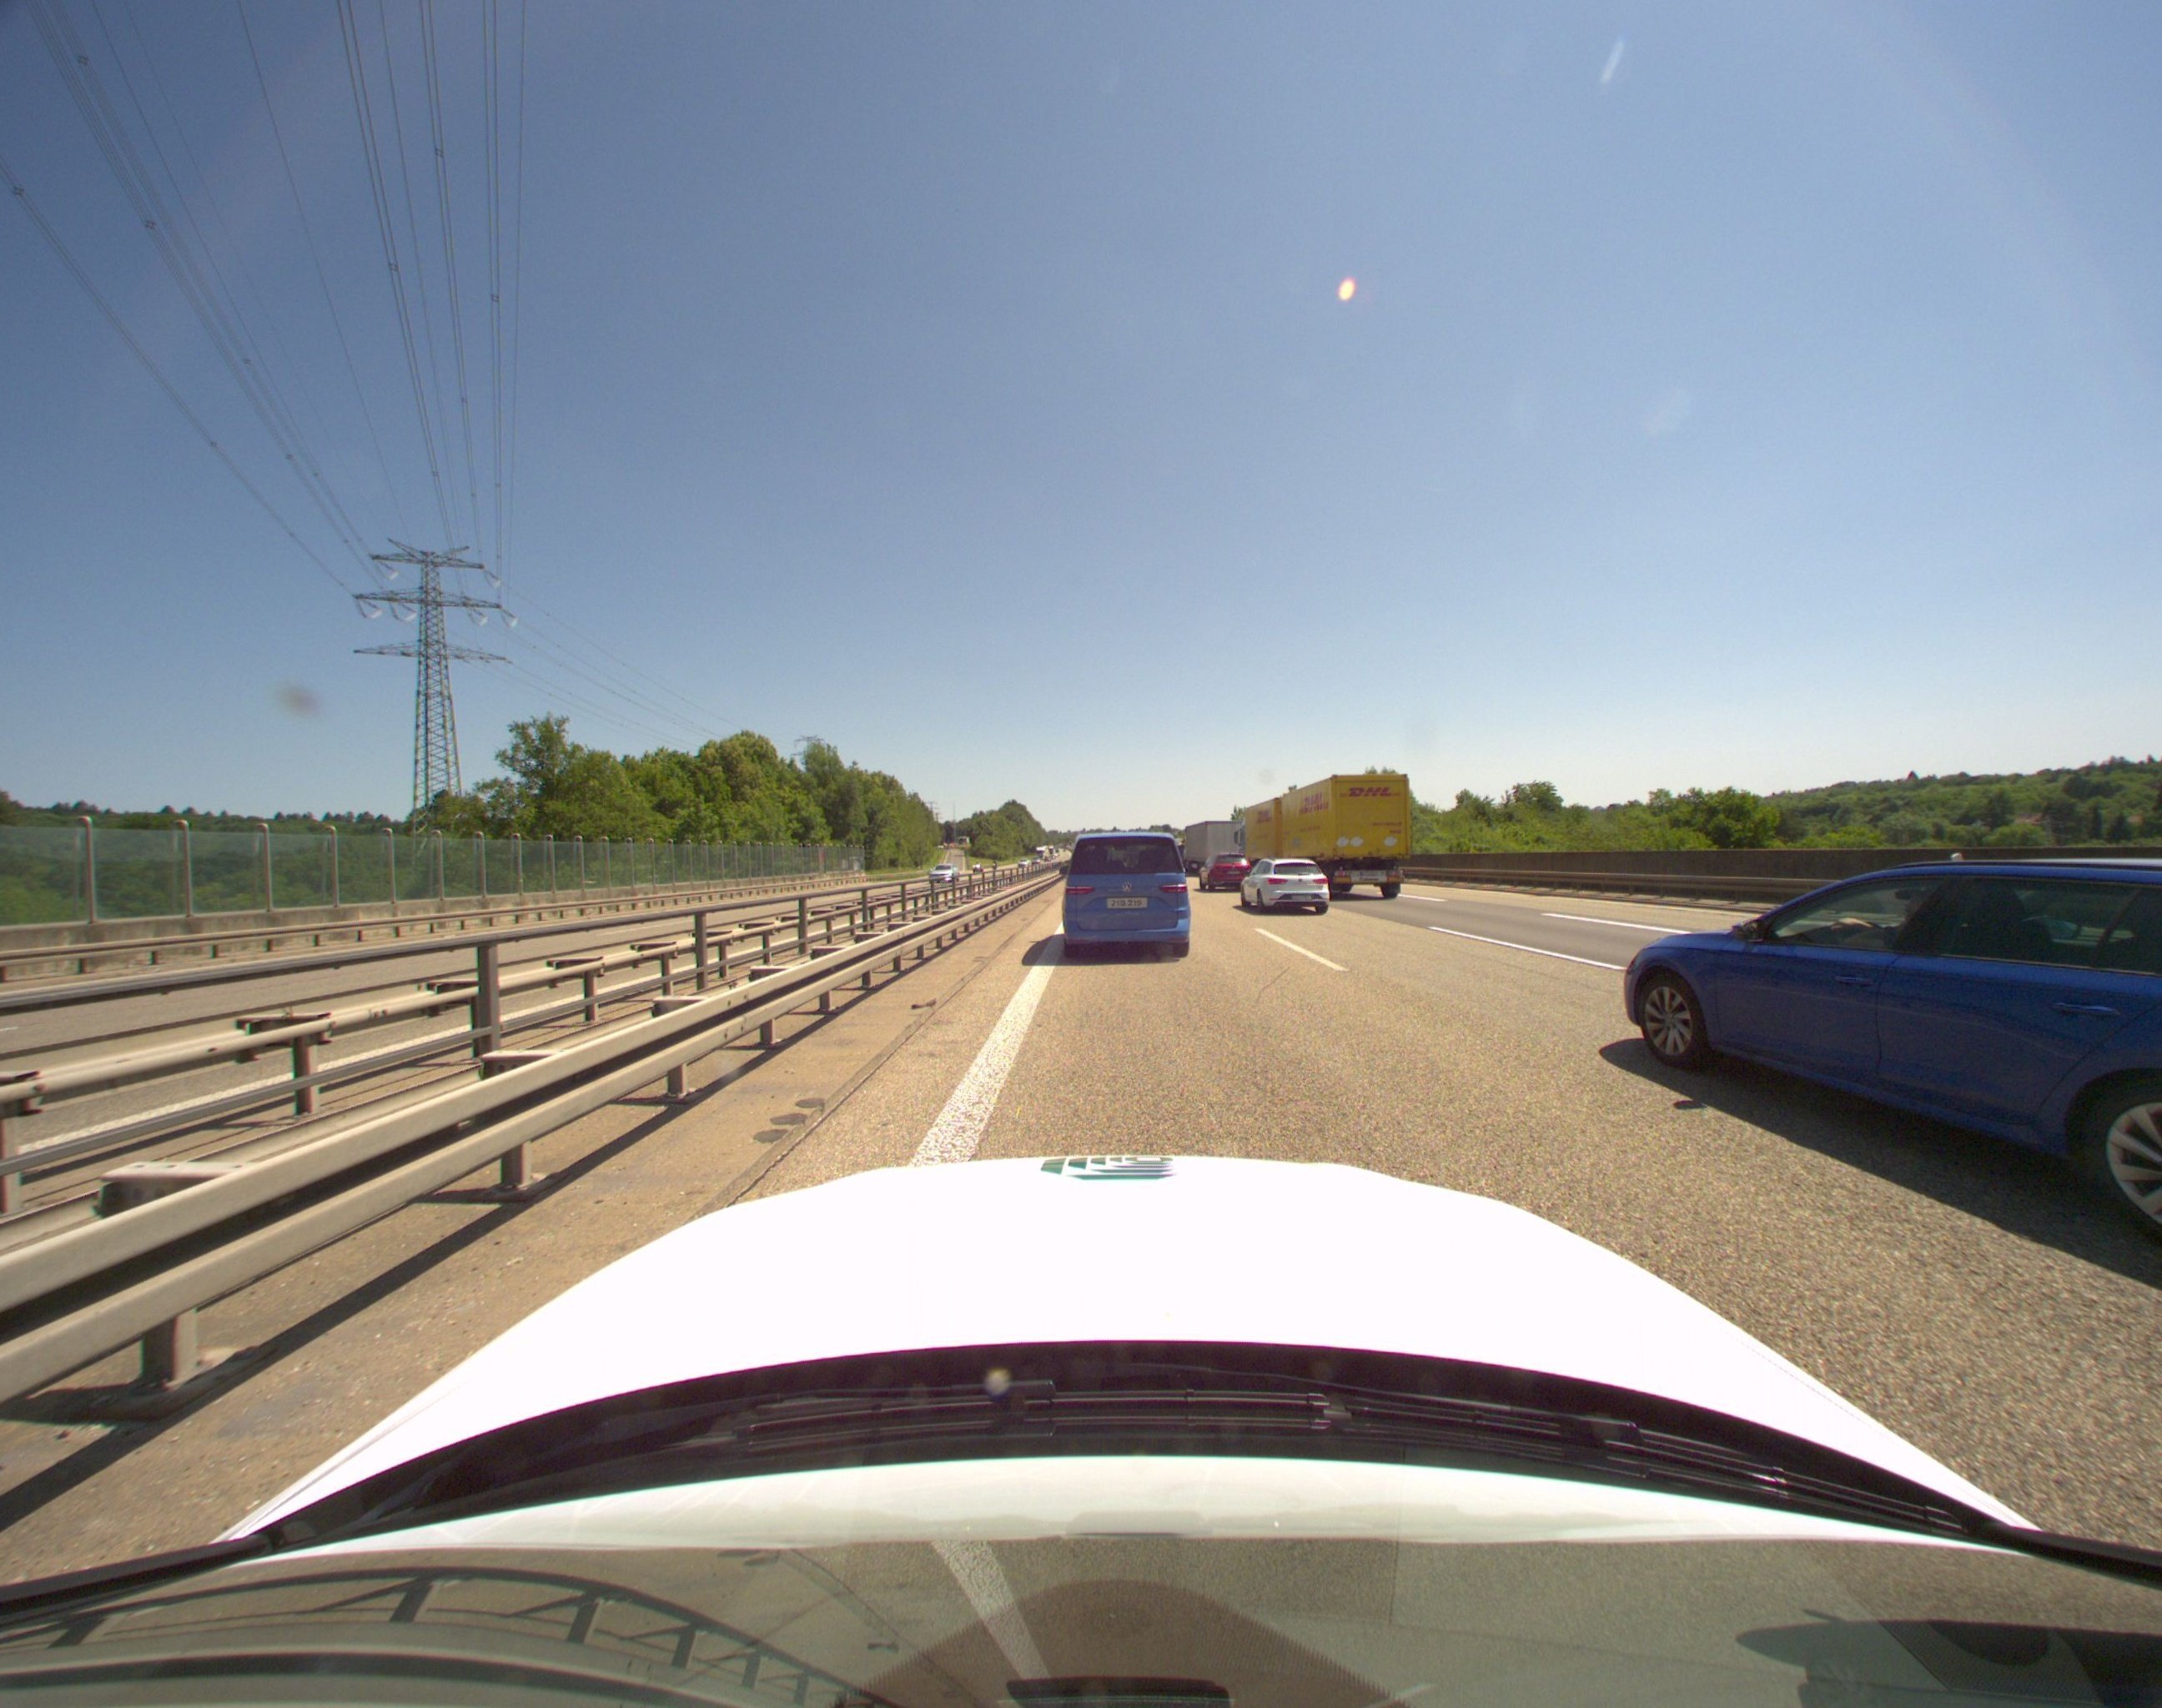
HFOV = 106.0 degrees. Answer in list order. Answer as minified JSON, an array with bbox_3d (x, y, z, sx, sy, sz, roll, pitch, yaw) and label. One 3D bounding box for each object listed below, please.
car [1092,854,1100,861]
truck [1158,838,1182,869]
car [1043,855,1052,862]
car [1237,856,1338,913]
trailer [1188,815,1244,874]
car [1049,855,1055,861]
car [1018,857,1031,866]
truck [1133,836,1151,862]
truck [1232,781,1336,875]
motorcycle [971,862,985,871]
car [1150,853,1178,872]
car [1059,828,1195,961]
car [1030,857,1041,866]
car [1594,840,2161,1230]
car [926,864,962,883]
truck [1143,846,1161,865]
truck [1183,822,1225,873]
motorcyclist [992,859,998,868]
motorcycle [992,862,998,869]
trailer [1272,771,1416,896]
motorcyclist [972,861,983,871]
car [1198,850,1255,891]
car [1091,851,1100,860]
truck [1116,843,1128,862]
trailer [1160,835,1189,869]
[{"bbox_3d":[4.081,0.987,222.340,1.986,2.014,4.001,0,-1,1],"label":"car"},{"bbox_3d":[11.037,-0.079,101.466,2.359,3.722,6.034,0,-1,1],"label":"truck"},{"bbox_3d":[-8.813,1.147,213.651,1.823,1.609,4.169,-4,0,1],"label":"car"},{"bbox_3d":[5.495,0.764,22.171,1.774,1.387,4.189,-1,0,2],"label":"car"},{"bbox_3d":[10.263,-0.606,63.241,2.745,4.146,11.315,0,-1,2],"label":"trailer"},{"bbox_3d":[-9.163,1.217,257.985,1.823,1.609,4.169,-3,0,1],"label":"car"},{"bbox_3d":[-9.463,1.261,137.436,1.709,1.434,4.177,-4,0,1],"label":"car"},{"bbox_3d":[11.970,-0.897,161.089,2.824,5.040,11.144,0,-1,0],"label":"truck"},{"bbox_3d":[9.726,-1.076,40.348,2.712,4.055,10.337,0,-1,1],"label":"truck"},{"bbox_3d":[-13.670,1.668,107.776,1.361,1.099,2.577,-4,0,1],"label":"motorcycle"},{"bbox_3d":[6.540,0.681,64.726,1.832,1.414,3.999,-1,0,0],"label":"car"},{"bbox_3d":[0.706,0.581,13.467,1.875,1.837,4.001,-1,0,2],"label":"car"},{"bbox_3d":[-9.276,1.493,165.941,1.823,1.609,4.169,-5,0,1],"label":"car"},{"bbox_3d":[4.869,0.659,4.205,1.703,1.440,4.502,-1,0,2],"label":"car"},{"bbox_3d":[-10.756,1.516,64.124,1.903,1.394,4.166,-3,-1,1],"label":"car"},{"bbox_3d":[12.343,0.241,142.731,2.348,3.218,9.739,0,-1,0],"label":"truck"},{"bbox_3d":[10.465,-0.474,69.815,2.758,4.095,6.986,0,-1,2],"label":"truck"},{"bbox_3d":[-13.727,1.535,130.052,0.895,1.441,1.082,-2,1,1],"label":"motorcyclist"},{"bbox_3d":[-13.698,1.838,130.008,0.699,1.070,2.306,-3,1,2],"label":"motorcycle"},{"bbox_3d":[9.521,-0.608,30.695,2.692,4.023,8.932,0,-1,1],"label":"trailer"},{"bbox_3d":[-13.699,1.550,107.468,1.182,1.256,1.119,-4,0,1],"label":"motorcyclist"},{"bbox_3d":[6.180,0.688,34.978,1.844,1.608,4.001,-1,0,2],"label":"car"},{"bbox_3d":[3.357,0.445,187.610,1.986,2.014,4.001,0,-1,1],"label":"car"},{"bbox_3d":[11.726,-0.416,233.750,2.824,5.373,12.553,0,-1,0],"label":"truck"},{"bbox_3d":[10.920,-0.135,95.680,2.371,3.744,11.190,0,-1,1],"label":"trailer"}]
